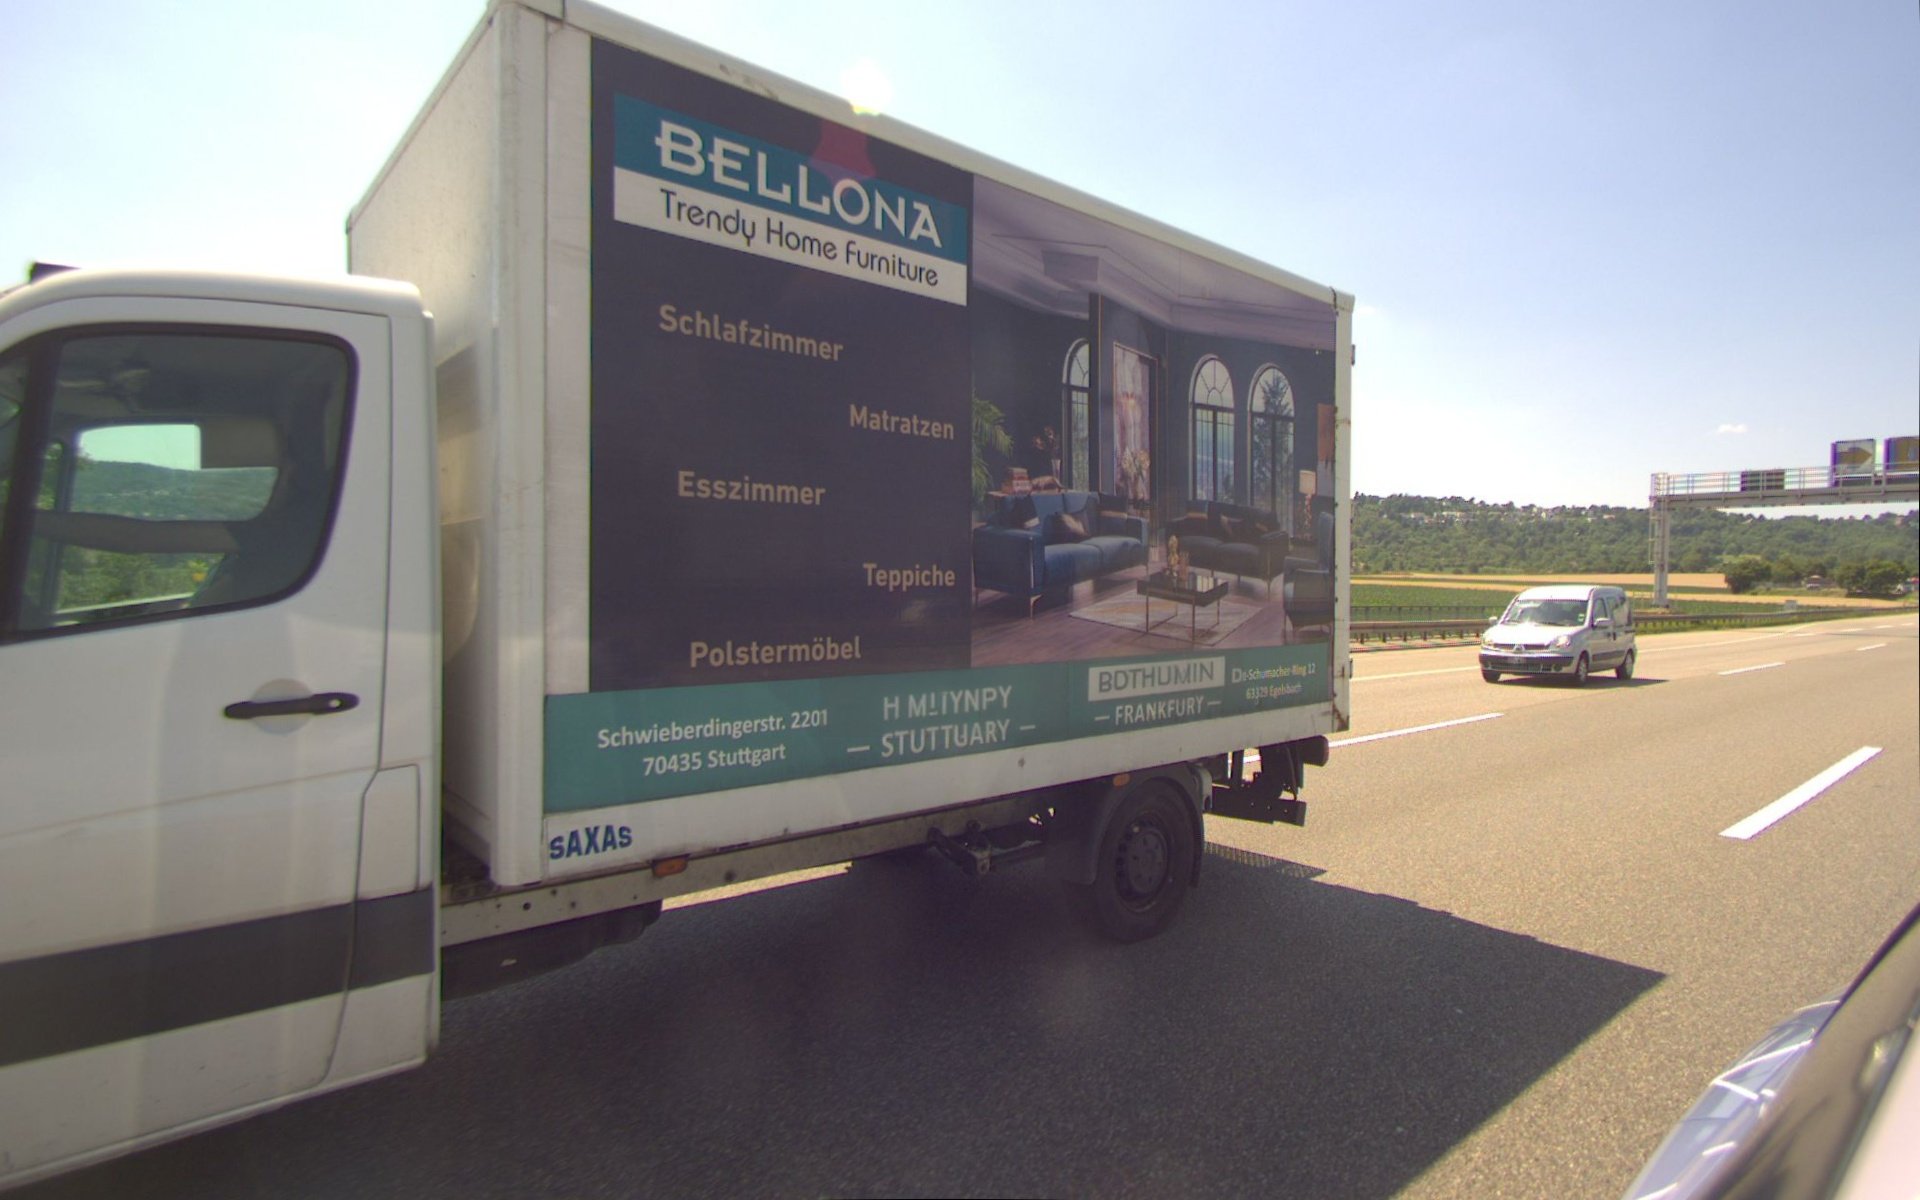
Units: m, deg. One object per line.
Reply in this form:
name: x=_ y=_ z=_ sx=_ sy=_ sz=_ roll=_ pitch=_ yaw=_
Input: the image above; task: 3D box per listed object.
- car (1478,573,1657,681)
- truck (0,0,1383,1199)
car: x=11.124 y=0.442 z=18.439 sx=3.902 sy=1.759 sz=1.630 roll=0 pitch=0 yaw=-40
truck: x=-1.046 y=-0.161 z=3.952 sx=6.633 sy=3.106 sz=2.324 roll=0 pitch=0 yaw=-41
